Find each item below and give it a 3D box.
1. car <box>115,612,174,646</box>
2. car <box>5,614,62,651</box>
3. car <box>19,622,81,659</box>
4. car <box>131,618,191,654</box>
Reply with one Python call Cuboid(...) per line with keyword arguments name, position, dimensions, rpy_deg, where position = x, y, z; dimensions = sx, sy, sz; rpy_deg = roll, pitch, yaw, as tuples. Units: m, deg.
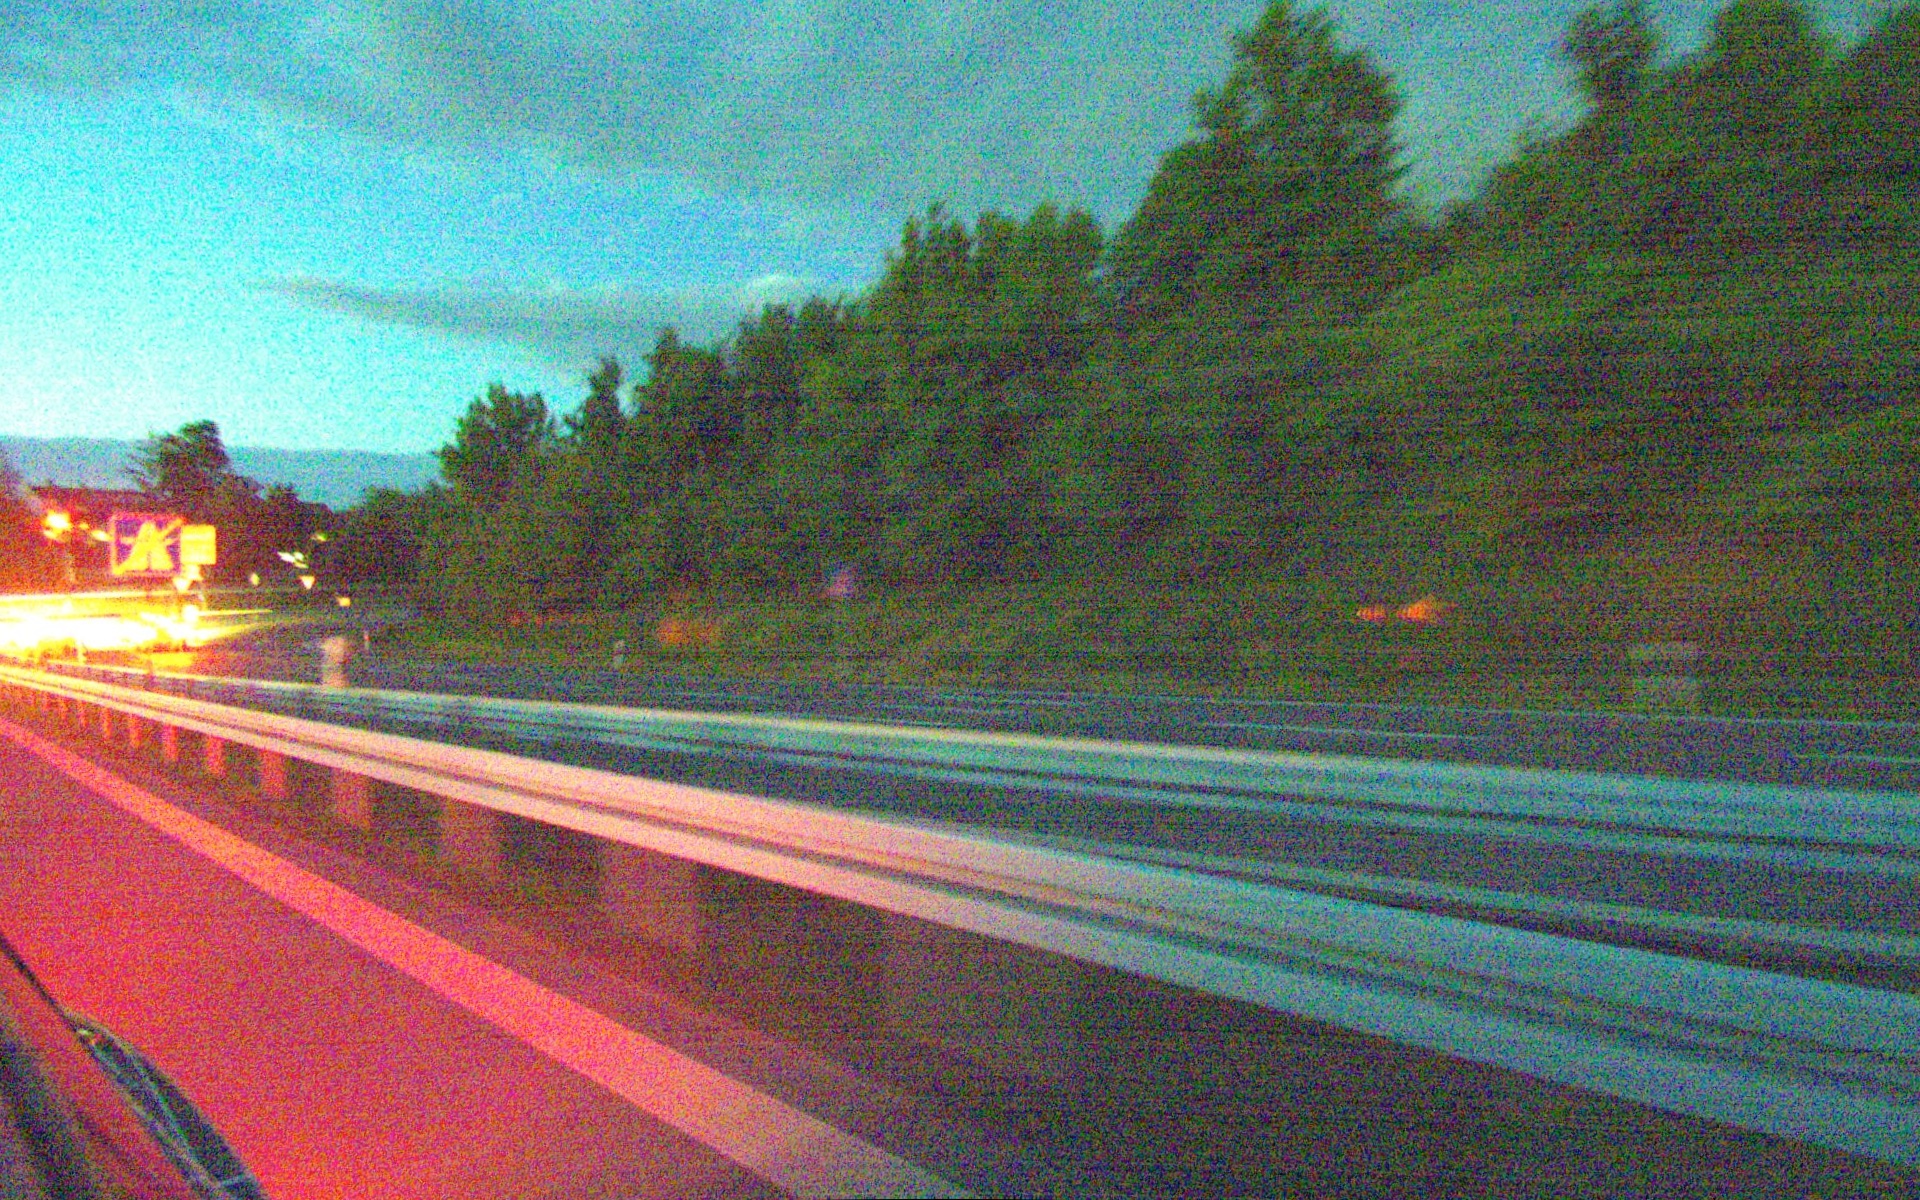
Cuboid(name="car", position=(-41.929, 1.460, 52.017), dimensions=(4.000, 1.471, 1.735), rpy_deg=(2, 4, 43))
Cuboid(name="car", position=(-46.335, 1.606, 50.585), dimensions=(3.869, 1.485, 1.682), rpy_deg=(3, 5, 41))
Cuboid(name="car", position=(-40.672, 1.756, 45.208), dimensions=(3.985, 1.455, 1.691), rpy_deg=(0, 1, 43))
Cuboid(name="car", position=(-37.313, 1.654, 47.228), dimensions=(3.813, 1.470, 1.665), rpy_deg=(1, 1, 43))
